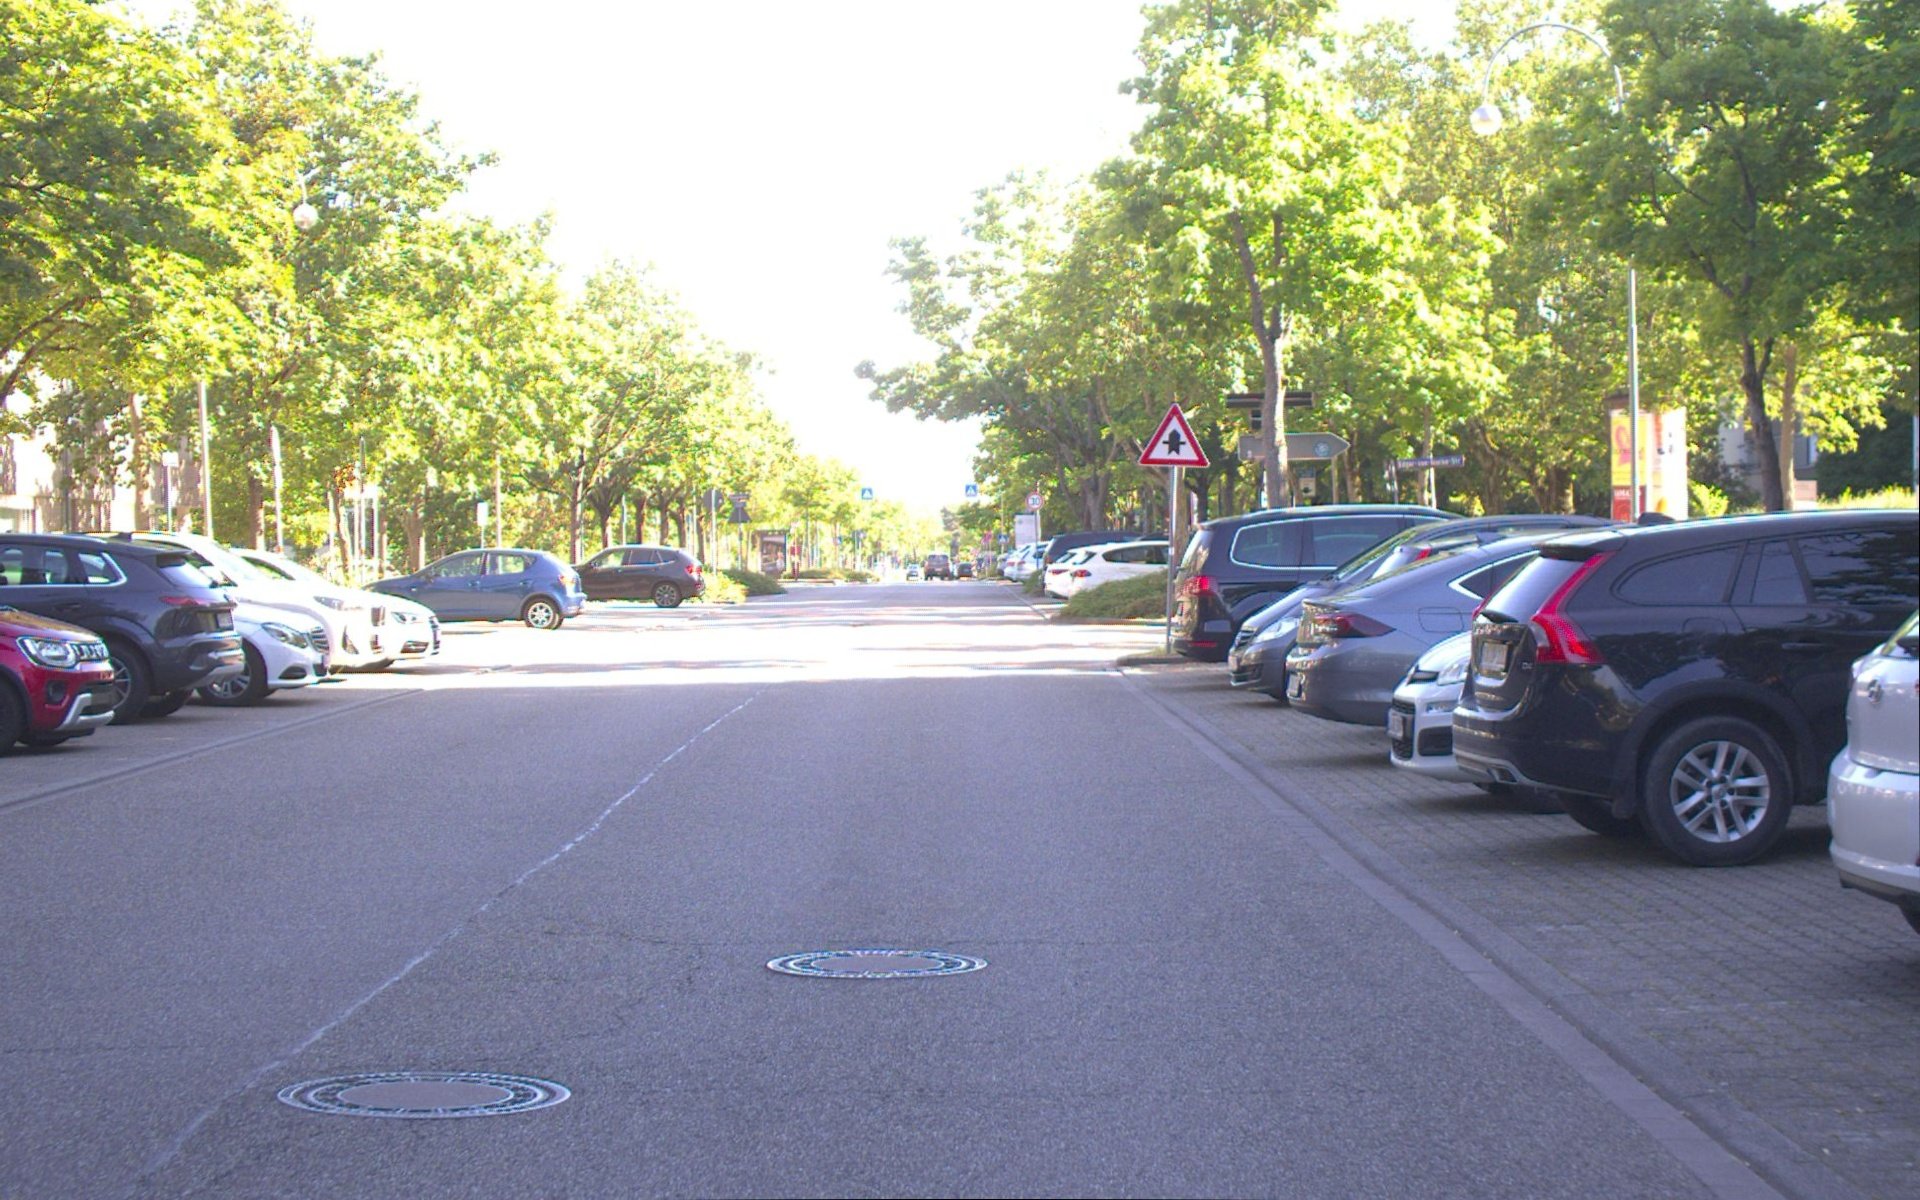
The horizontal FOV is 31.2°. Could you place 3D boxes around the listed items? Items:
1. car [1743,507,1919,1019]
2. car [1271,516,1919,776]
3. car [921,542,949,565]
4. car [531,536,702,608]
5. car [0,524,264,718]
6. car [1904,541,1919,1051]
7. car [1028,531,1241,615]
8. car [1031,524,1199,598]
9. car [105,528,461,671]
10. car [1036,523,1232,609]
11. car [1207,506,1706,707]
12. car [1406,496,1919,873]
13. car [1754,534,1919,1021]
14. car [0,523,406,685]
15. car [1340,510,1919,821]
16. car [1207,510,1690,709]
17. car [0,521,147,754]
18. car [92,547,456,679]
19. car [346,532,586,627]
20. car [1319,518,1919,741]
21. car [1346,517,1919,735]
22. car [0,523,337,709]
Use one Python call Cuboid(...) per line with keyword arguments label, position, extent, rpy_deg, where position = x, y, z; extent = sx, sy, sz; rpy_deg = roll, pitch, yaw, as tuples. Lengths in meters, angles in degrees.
Cuboid(label="car", position=(4.639, 0.404, 10.805), extent=(3.866, 1.463, 1.967), rpy_deg=(-2, 0, 0))
Cuboid(label="car", position=(4.168, 0.273, 22.354), extent=(4.043, 1.486, 1.550), rpy_deg=(-2, 1, -3))
Cuboid(label="car", position=(-1.790, -3.291, 243.756), extent=(1.933, 1.592, 4.366), rpy_deg=(-1, 1, 0))
Cuboid(label="car", position=(-8.426, -0.693, 84.616), extent=(3.987, 1.678, 2.000), rpy_deg=(-1, 1, -1))
Cuboid(label="car", position=(-8.202, 0.203, 29.601), extent=(3.987, 1.581, 1.765), rpy_deg=(-1, 0, 3))
Cuboid(label="car", position=(4.362, 0.525, 8.368), extent=(3.635, 1.462, 1.633), rpy_deg=(-2, 1, 0))
Cuboid(label="car", position=(3.440, -0.546, 68.380), extent=(3.986, 1.619, 2.000), rpy_deg=(-1, 1, -5))
Cuboid(label="car", position=(3.882, -0.983, 86.552), extent=(3.986, 1.786, 2.000), rpy_deg=(-1, 1, -5))
Cuboid(label="car", position=(-7.956, -0.020, 40.689), extent=(3.892, 1.606, 1.858), rpy_deg=(-1, 1, -3))
Cuboid(label="car", position=(3.745, -0.748, 74.402), extent=(3.986, 1.786, 2.000), rpy_deg=(-1, 1, -5))
Cuboid(label="car", position=(4.311, 0.042, 30.186), extent=(4.043, 1.576, 1.641), rpy_deg=(-2, 1, -3))
Cuboid(label="car", position=(4.341, 0.299, 15.815), extent=(4.248, 1.549, 1.920), rpy_deg=(-2, 1, -1))
Cuboid(label="car", position=(4.676, 0.458, 10.987), extent=(3.752, 1.444, 1.880), rpy_deg=(-2, 1, -3))
Cuboid(label="car", position=(-8.282, 0.023, 37.807), extent=(3.987, 1.648, 1.860), rpy_deg=(-1, 1, 3))
Cuboid(label="car", position=(4.258, 0.311, 18.907), extent=(4.043, 1.585, 1.550), rpy_deg=(-1, 1, -7))
Cuboid(label="car", position=(4.240, 0.065, 30.220), extent=(3.892, 1.650, 1.858), rpy_deg=(-1, 1, -4))
Cuboid(label="car", position=(-7.974, 0.282, 25.287), extent=(3.541, 1.651, 1.761), rpy_deg=(-1, 0, 2))
Cuboid(label="car", position=(-8.063, 0.136, 40.654), extent=(3.986, 1.476, 1.680), rpy_deg=(-1, 1, -2))
Cuboid(label="car", position=(-8.549, -0.374, 59.685), extent=(3.986, 1.527, 1.618), rpy_deg=(-1, 2, -4))
Cuboid(label="car", position=(4.791, 0.197, 25.299), extent=(4.043, 1.449, 1.519), rpy_deg=(-2, 1, -3))
Cuboid(label="car", position=(5.033, 0.167, 25.394), extent=(4.043, 1.416, 1.737), rpy_deg=(-2, 1, -4))
Cuboid(label="car", position=(-8.064, 0.132, 32.658), extent=(3.987, 1.714, 1.709), rpy_deg=(0, 1, -1))
